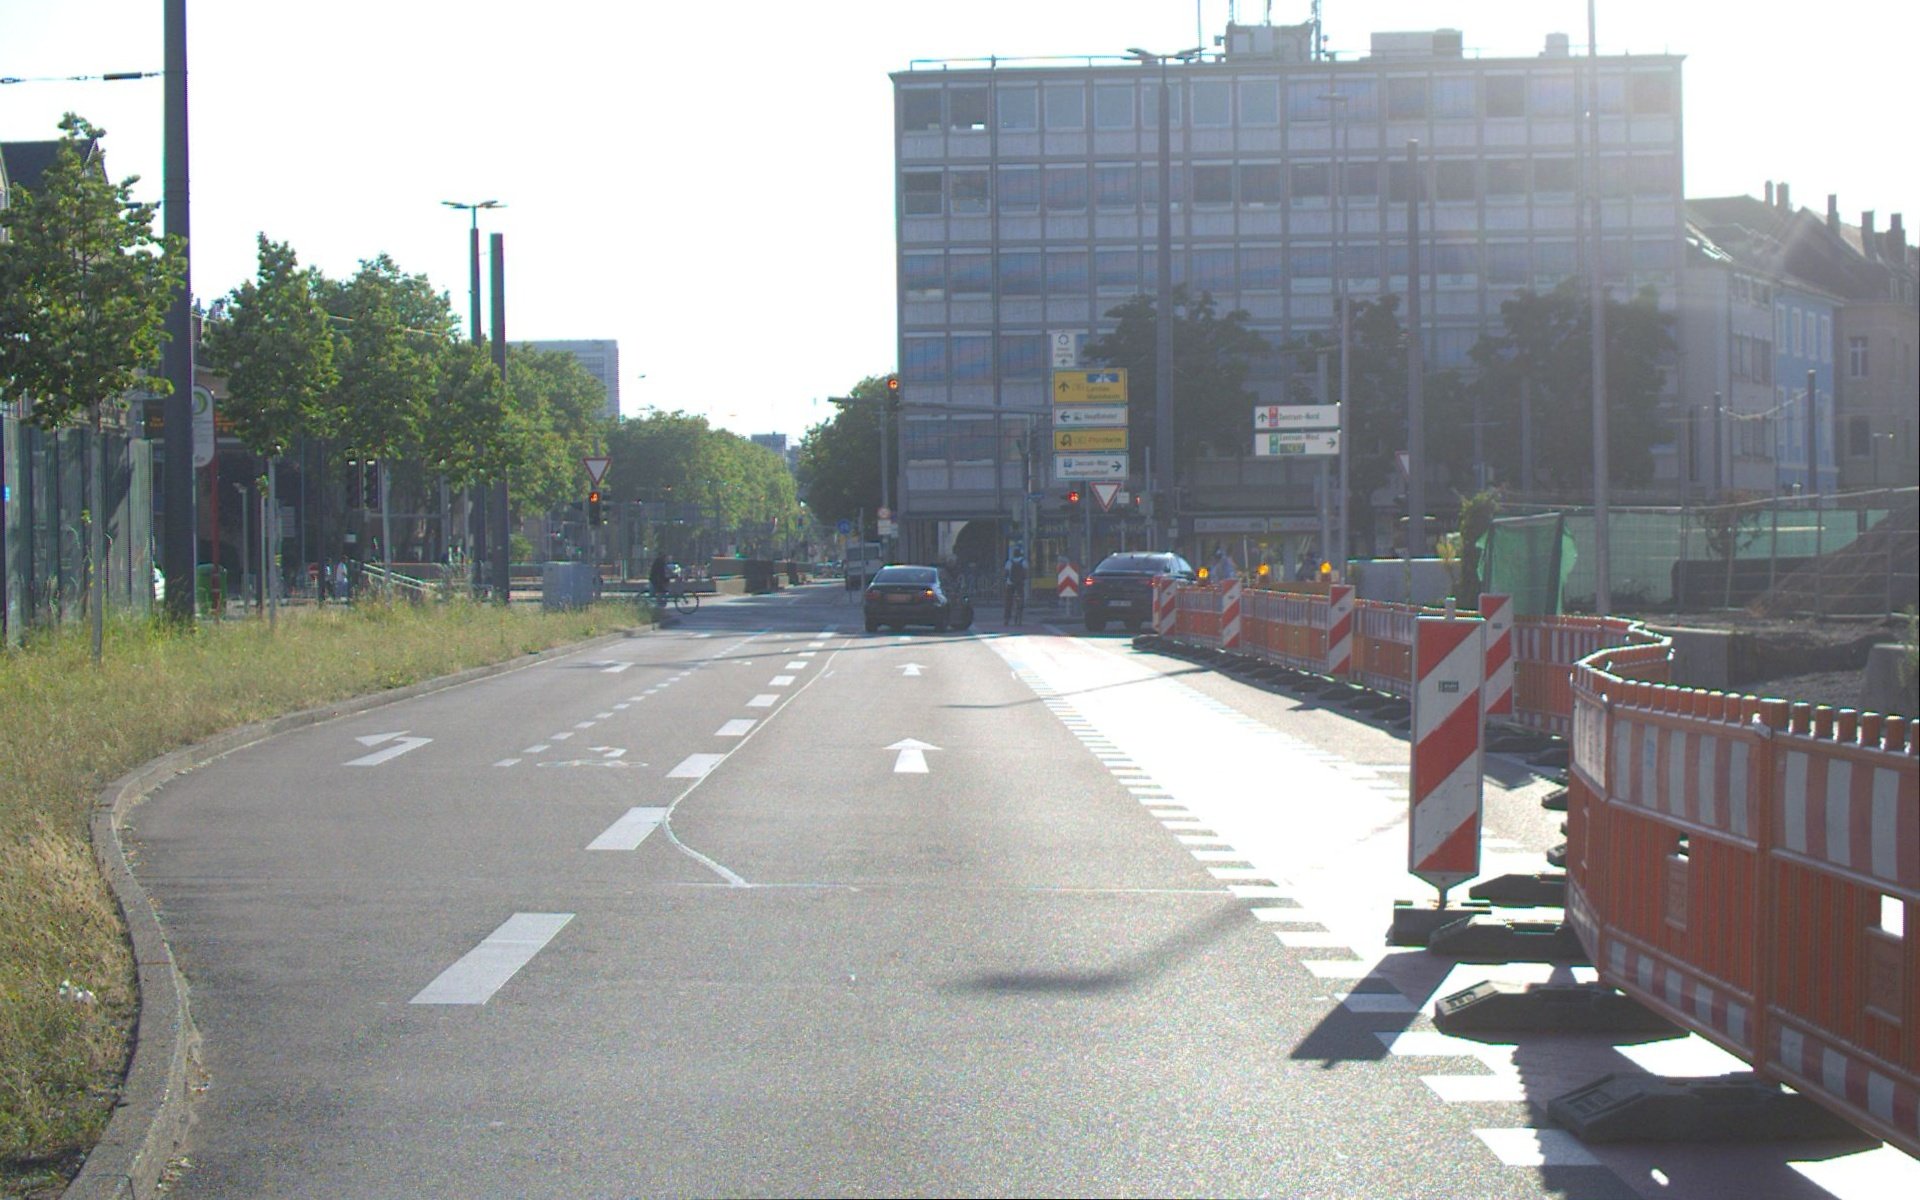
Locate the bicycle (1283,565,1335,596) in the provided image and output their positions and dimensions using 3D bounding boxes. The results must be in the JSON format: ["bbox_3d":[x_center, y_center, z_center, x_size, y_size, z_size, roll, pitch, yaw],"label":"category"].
[{"bbox_3d":[12.212,-0.680,120.285,1.731,1.056,0.539,-1,0,-11],"label":"bicycle"}]

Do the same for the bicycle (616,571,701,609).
[{"bbox_3d":[-8.123,-0.269,92.726,2.226,1.023,0.682,0,0,2],"label":"bicycle"}]

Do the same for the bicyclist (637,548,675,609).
[{"bbox_3d":[-8.199,-0.581,92.725,0.959,1.656,0.691,0,0,2],"label":"bicyclist"}]

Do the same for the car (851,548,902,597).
[{"bbox_3d":[-4.306,-1.428,177.298,2.486,2.384,5.935,-2,0,-2],"label":"car"}]

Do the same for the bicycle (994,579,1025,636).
[{"bbox_3d":[1.152,0.160,79.822,0.644,1.219,2.048,1,2,0],"label":"bicycle"}]

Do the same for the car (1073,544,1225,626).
[{"bbox_3d":[4.196,-0.359,75.793,1.996,1.687,3.995,2,2,25],"label":"car"}]

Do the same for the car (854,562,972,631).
[{"bbox_3d":[-0.973,-0.094,73.404,1.744,1.421,3.998,0,1,11],"label":"car"}]

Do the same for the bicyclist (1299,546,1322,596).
[{"bbox_3d":[12.272,-1.017,120.289,0.663,1.706,0.538,-1,0,-11],"label":"bicyclist"}]

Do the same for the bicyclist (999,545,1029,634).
[{"bbox_3d":[1.252,-0.250,79.992,0.643,2.006,1.067,1,2,-1],"label":"bicyclist"}]

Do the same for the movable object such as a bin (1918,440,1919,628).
[{"bbox_3d":[15.025,-0.930,47.135,2.275,2.694,4.943,-1,1,-1],"label":"movable object such as a bin"}]
